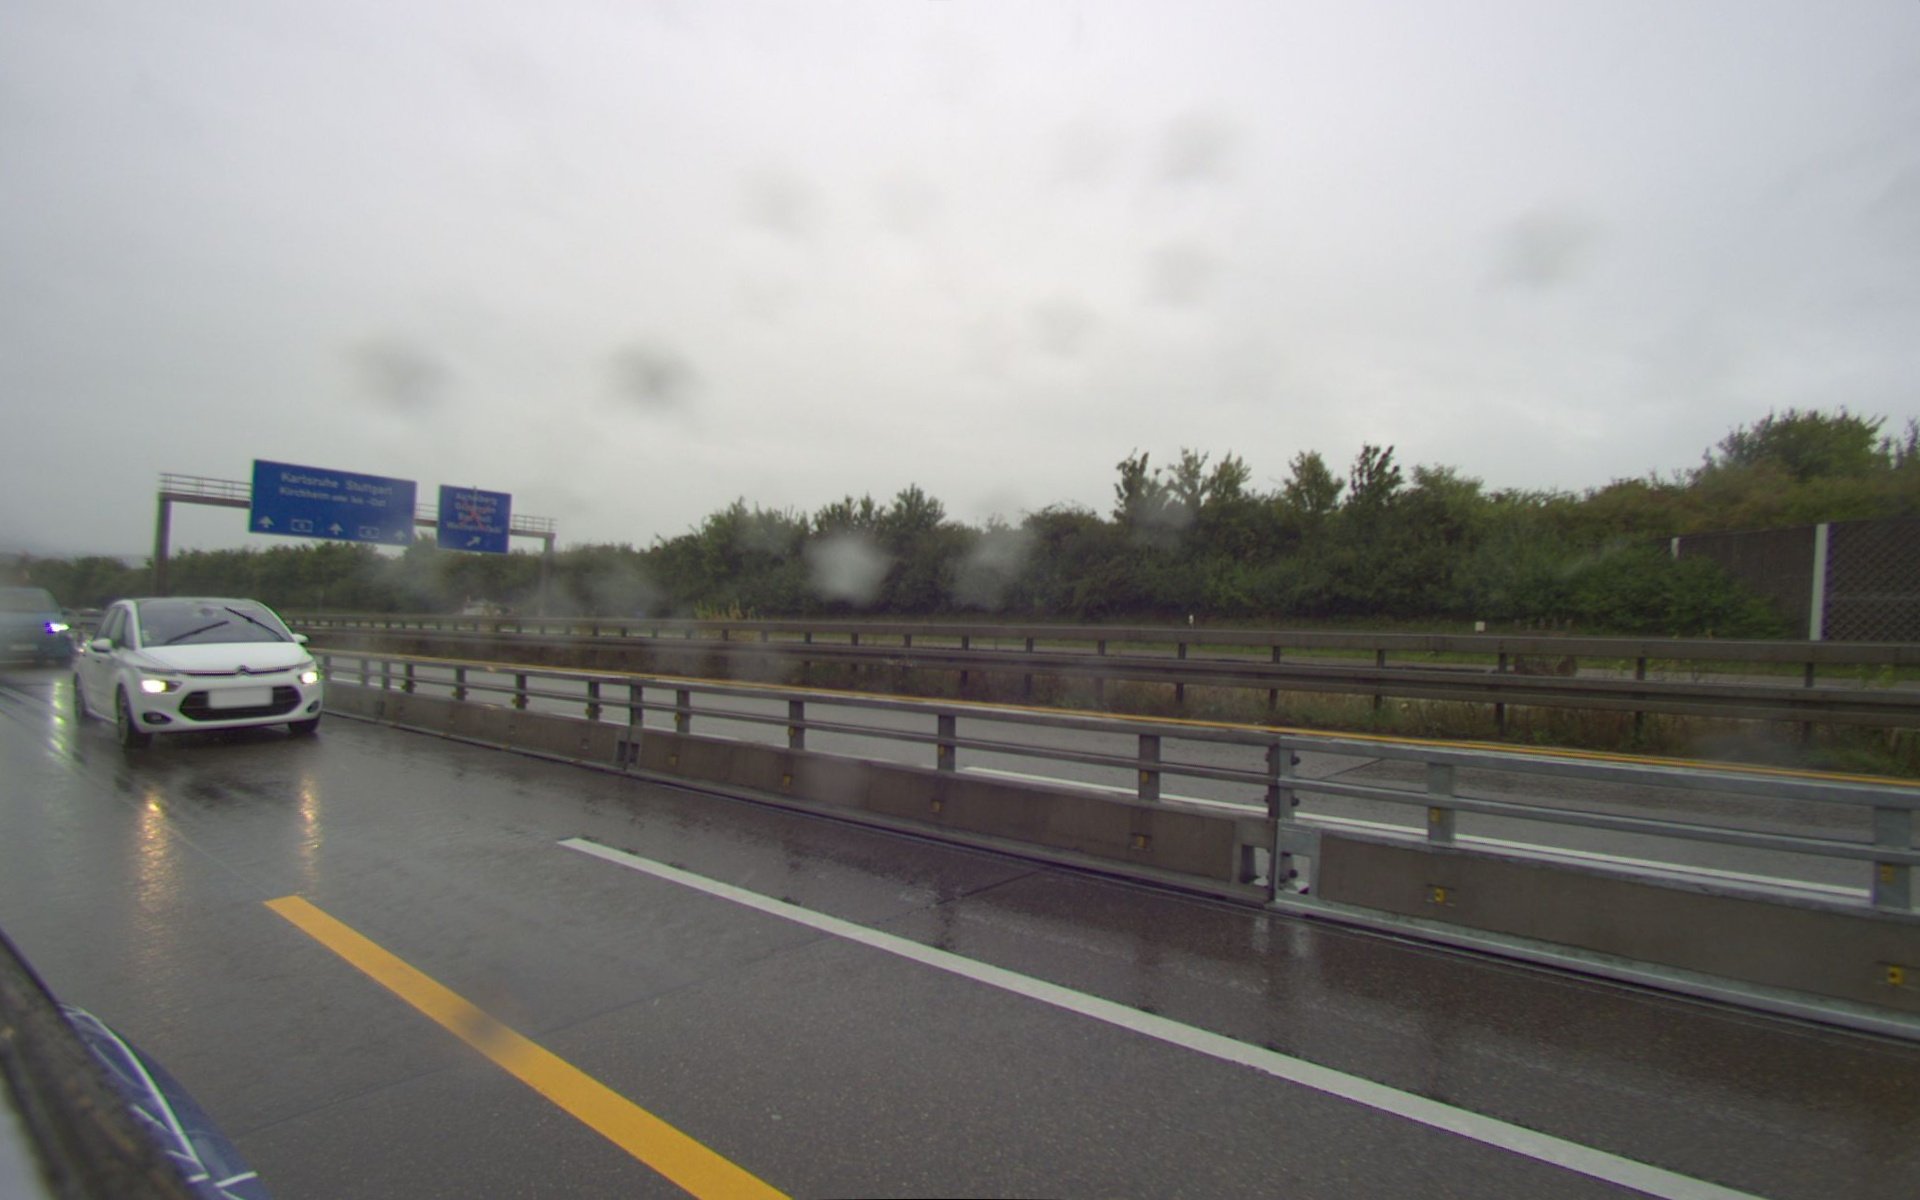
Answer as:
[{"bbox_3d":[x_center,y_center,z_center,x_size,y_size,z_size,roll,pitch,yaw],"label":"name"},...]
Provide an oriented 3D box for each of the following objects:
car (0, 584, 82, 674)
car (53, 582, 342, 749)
[{"bbox_3d":[-23.603,0.658,24.987,5.561,2.029,2.183,0,0,41],"label":"car"},{"bbox_3d":[-9.093,0.693,11.938,4.308,1.608,1.952,-2,-2,42],"label":"car"}]
